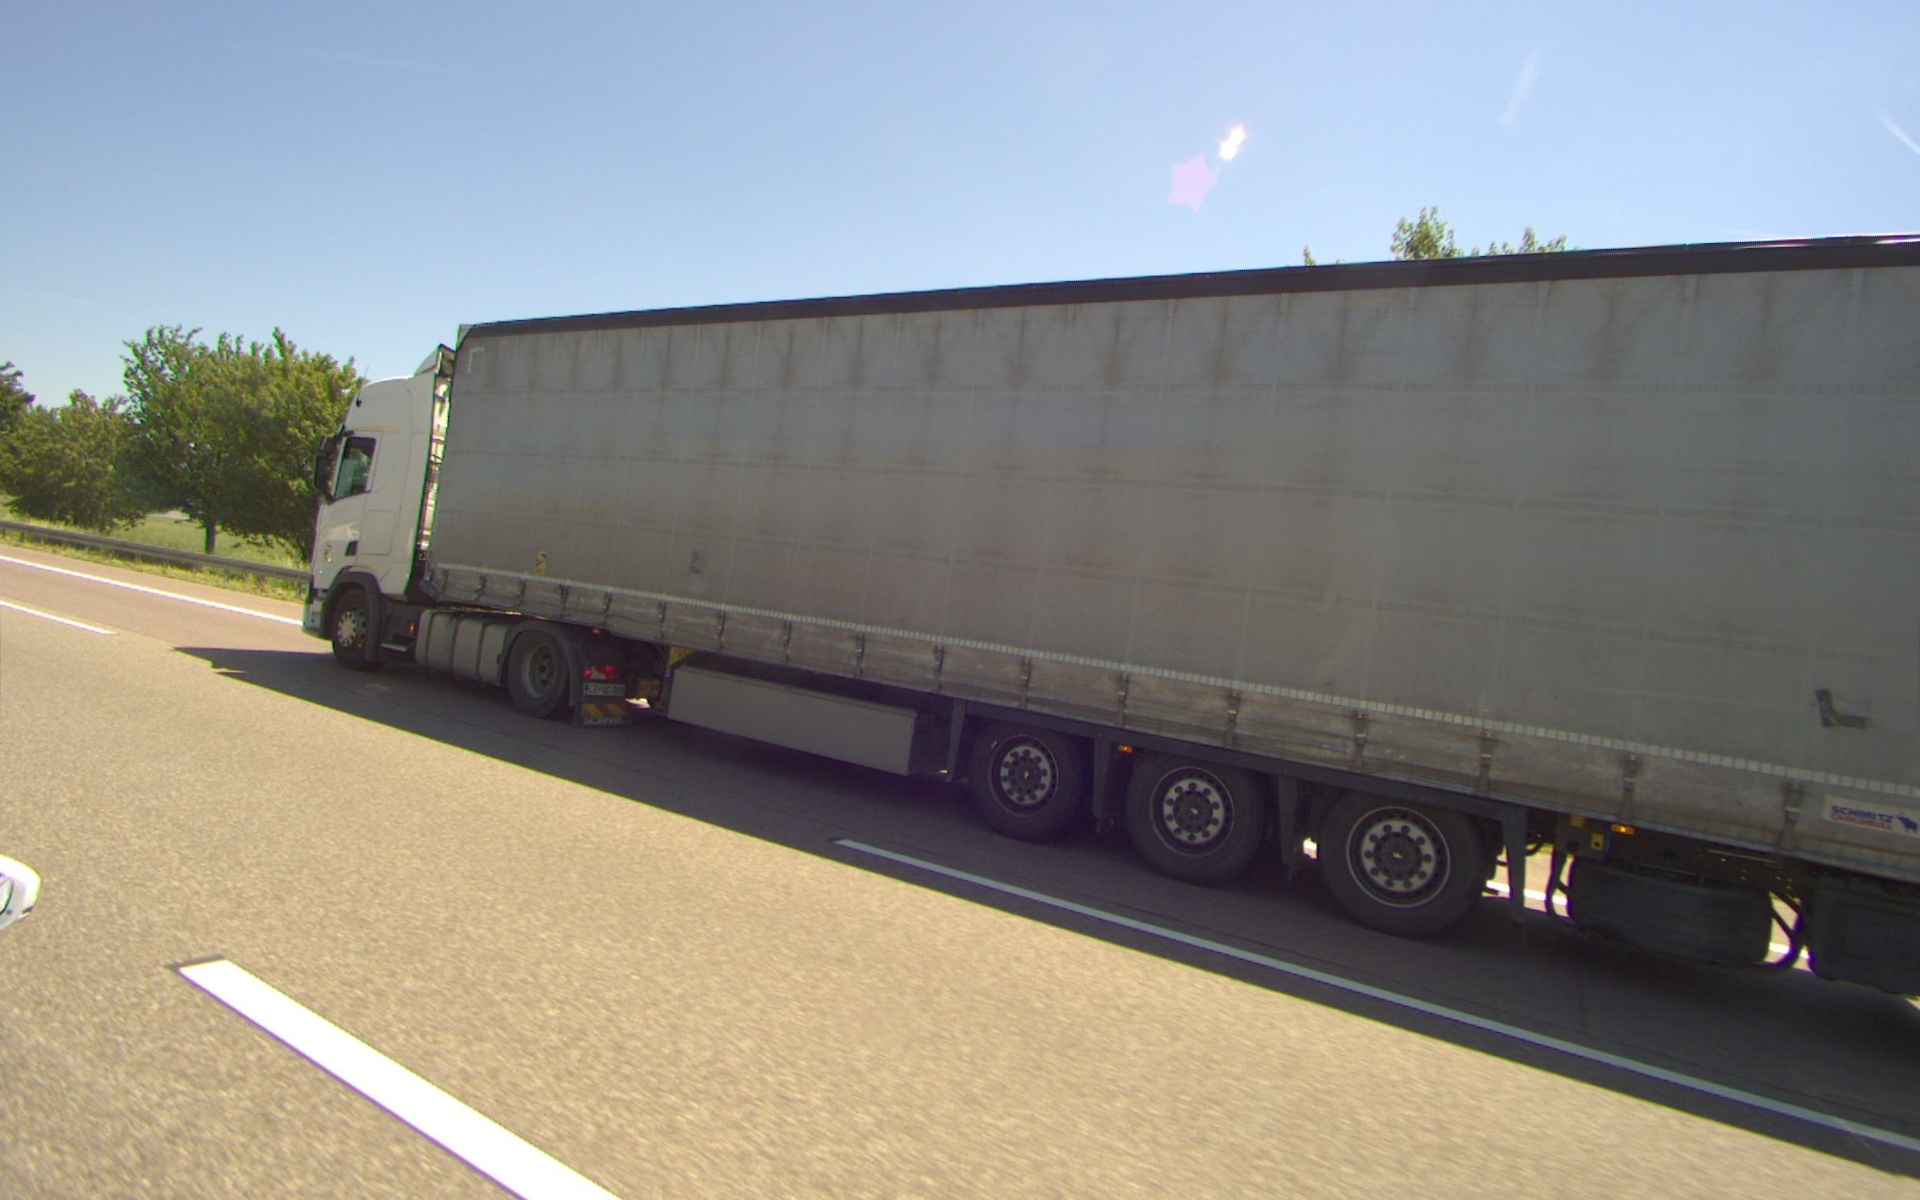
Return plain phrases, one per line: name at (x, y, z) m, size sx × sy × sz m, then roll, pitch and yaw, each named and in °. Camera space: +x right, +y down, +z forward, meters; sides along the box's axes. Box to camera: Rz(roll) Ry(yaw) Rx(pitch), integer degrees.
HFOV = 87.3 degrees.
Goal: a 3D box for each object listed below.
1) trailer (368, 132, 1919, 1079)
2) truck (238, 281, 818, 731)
trailer at (0.031, -0.457, 9.098) m, size 14.020 × 4.354 × 2.815 m, roll 6°, pitch -1°, yaw 32°
truck at (-5.671, -1.092, 12.750) m, size 7.075 × 4.354 × 2.815 m, roll 6°, pitch -1°, yaw 32°
